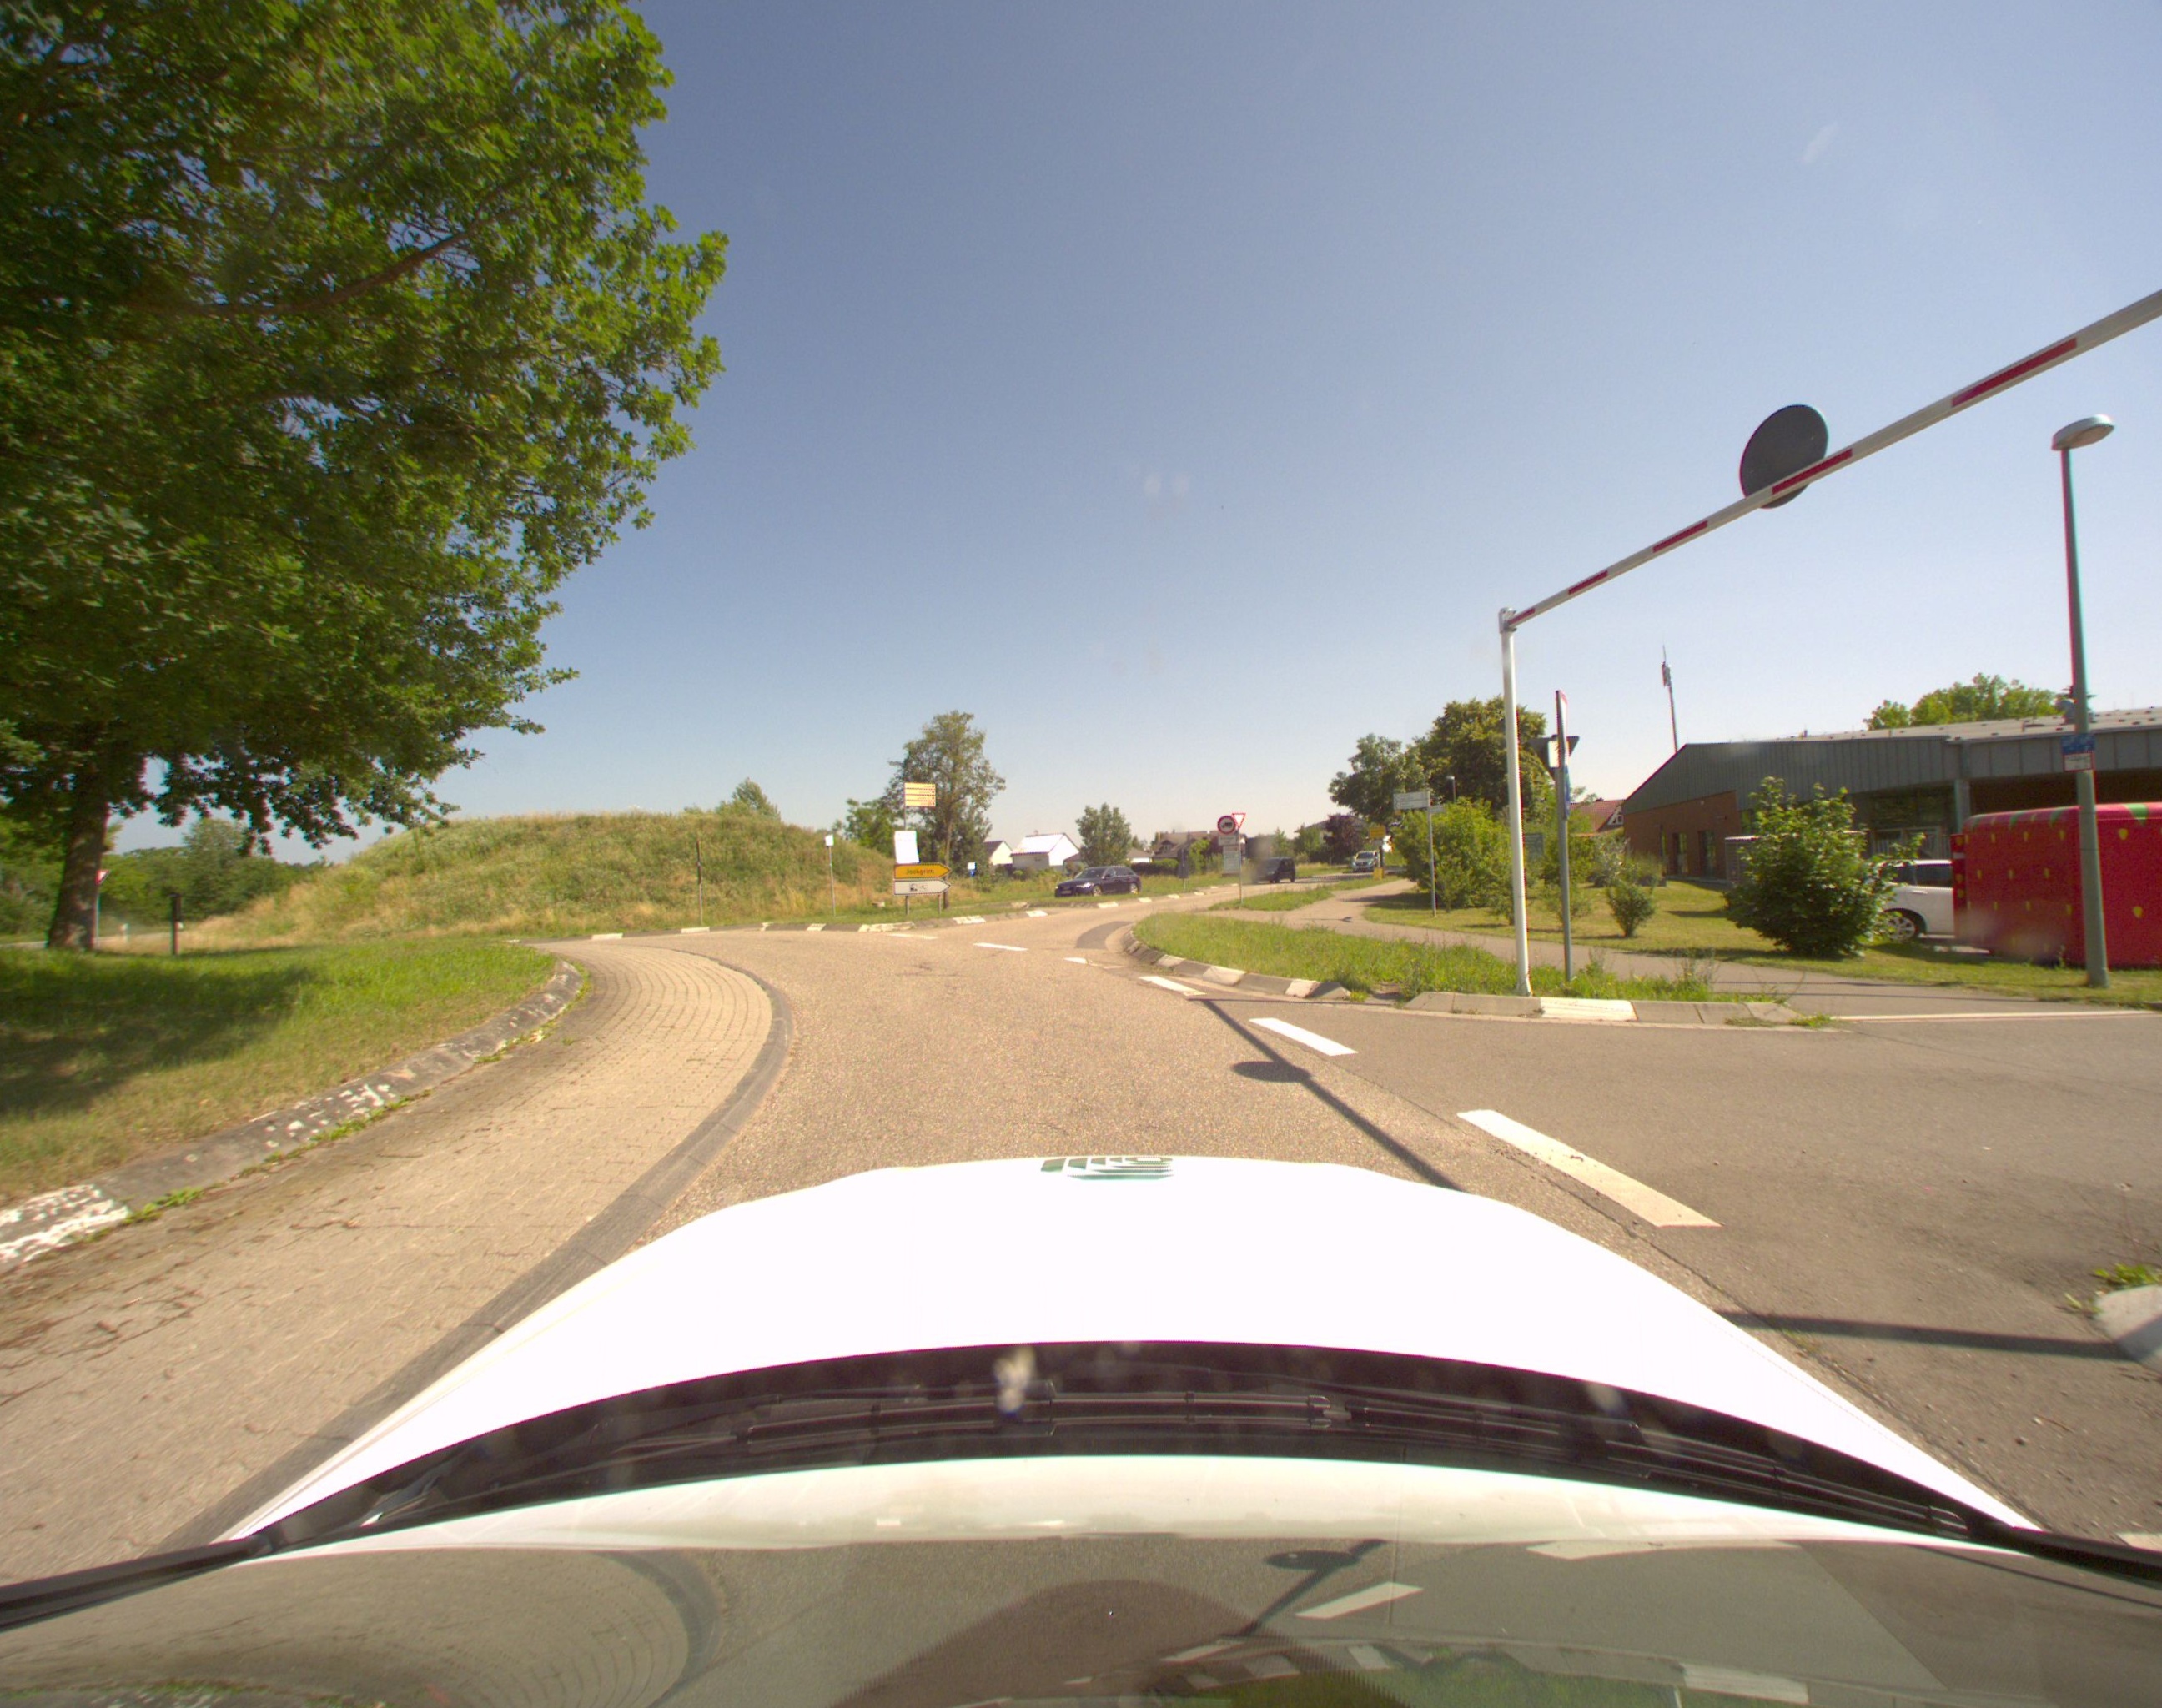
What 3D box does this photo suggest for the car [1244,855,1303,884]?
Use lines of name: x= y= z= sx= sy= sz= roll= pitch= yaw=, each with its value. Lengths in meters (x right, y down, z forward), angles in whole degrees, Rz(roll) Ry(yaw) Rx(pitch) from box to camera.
car: x=12.327 y=0.955 z=51.853 sx=1.792 sy=1.641 sz=4.685 roll=-7 pitch=-4 yaw=37

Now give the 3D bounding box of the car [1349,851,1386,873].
car: x=25.443 y=0.663 z=72.172 sx=1.974 sy=1.816 sz=5.234 roll=-3 pitch=-1 yaw=32

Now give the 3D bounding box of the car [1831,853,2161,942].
car: x=16.357 y=0.733 z=14.761 sx=3.724 sy=1.446 sz=1.736 roll=-1 pitch=0 yaw=27

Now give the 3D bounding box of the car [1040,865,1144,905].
car: x=0.566 y=1.291 z=34.815 sx=1.898 sy=1.434 sz=4.944 roll=-6 pitch=-4 yaw=35
